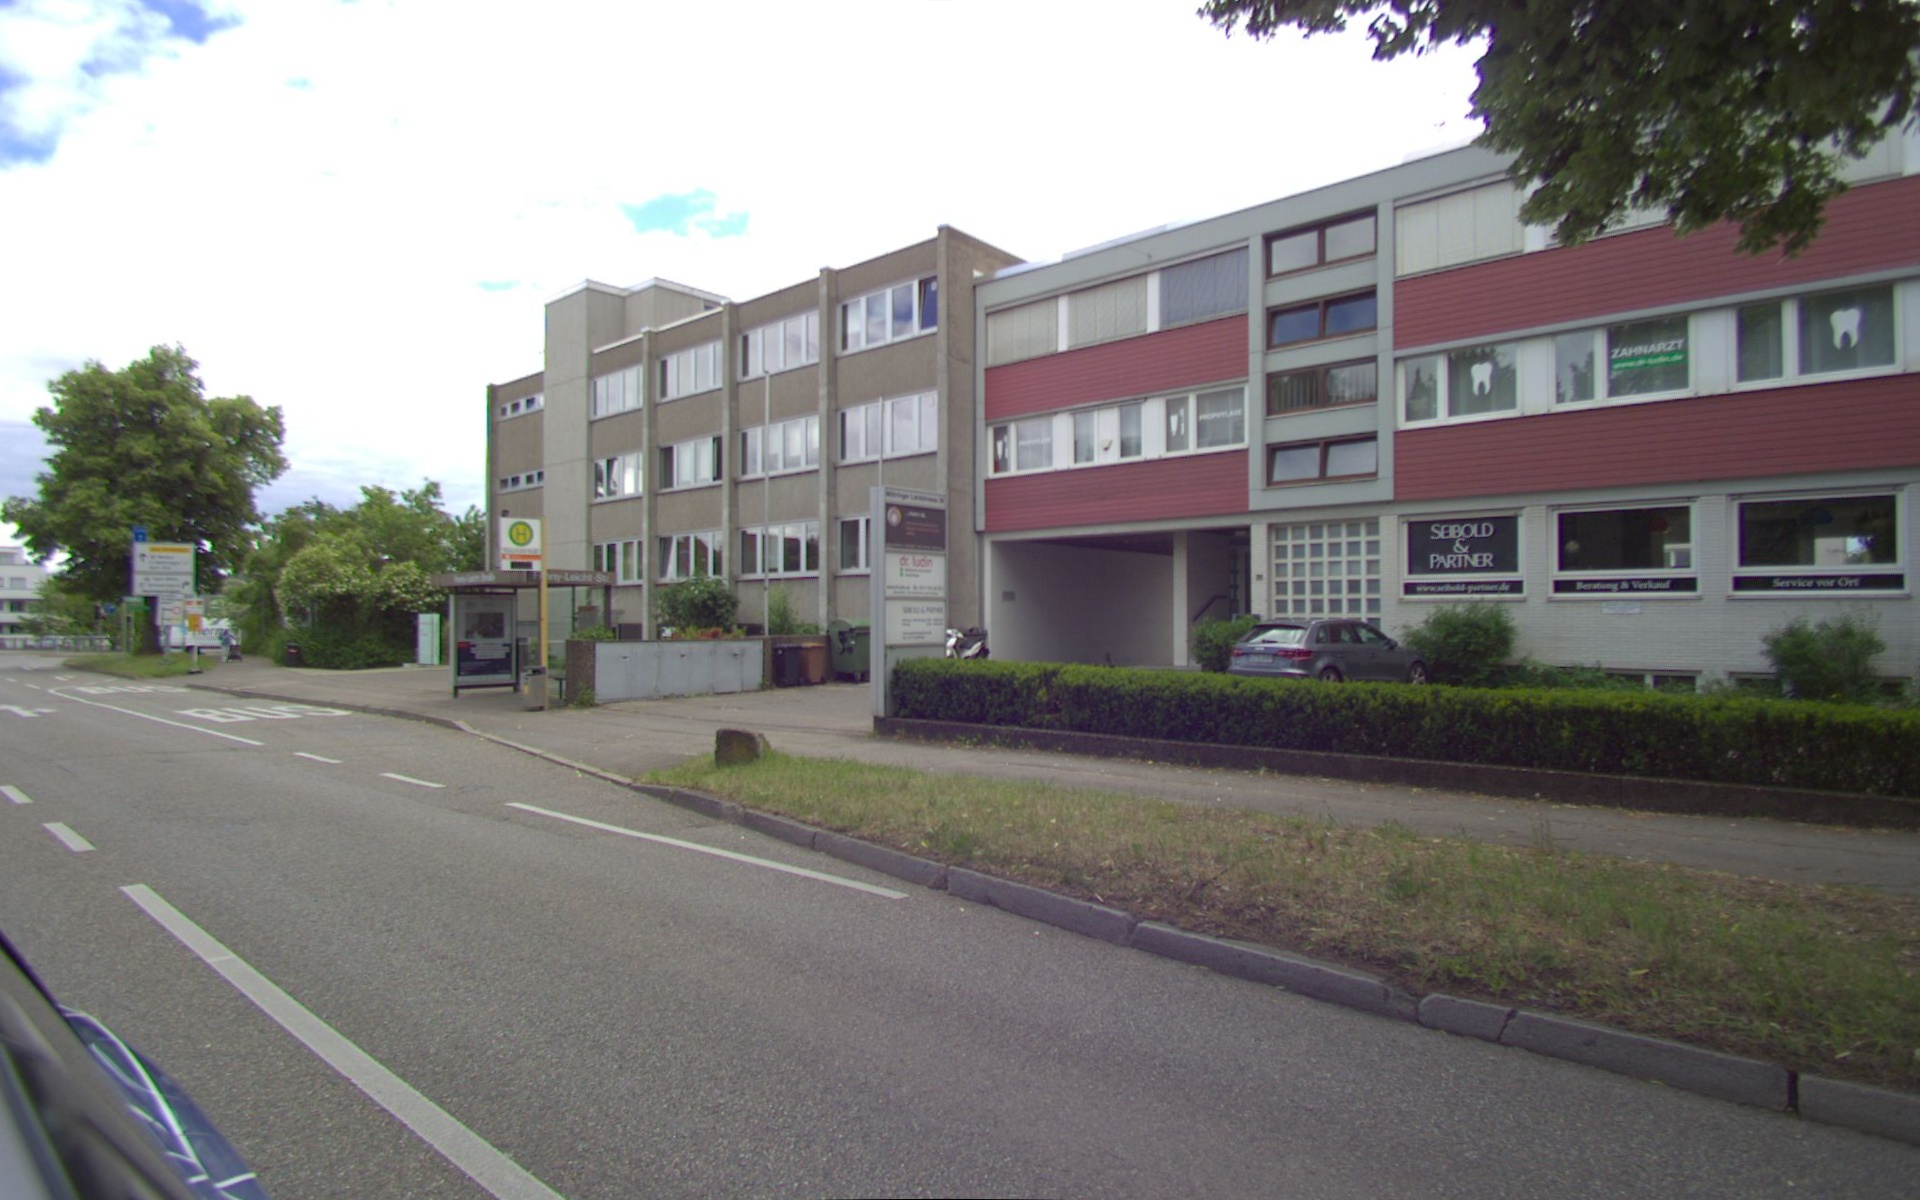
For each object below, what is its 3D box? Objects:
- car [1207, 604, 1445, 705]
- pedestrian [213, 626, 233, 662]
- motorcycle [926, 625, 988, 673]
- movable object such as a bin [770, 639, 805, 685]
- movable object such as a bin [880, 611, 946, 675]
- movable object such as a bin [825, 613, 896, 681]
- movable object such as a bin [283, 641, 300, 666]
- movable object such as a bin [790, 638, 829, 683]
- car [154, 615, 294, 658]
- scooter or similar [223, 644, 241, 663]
[{"bbox_3d":[6.341,0.844,17.401,4.082,1.490,1.817,-1,0,-35],"label":"car"},{"bbox_3d":[-33.331,1.991,45.781,0.662,1.570,0.521,-1,-1,-32],"label":"pedestrian"},{"bbox_3d":[-0.071,1.218,25.678,0.639,1.148,1.624,-1,0,41],"label":"motorcycle"},{"bbox_3d":[-3.705,1.324,21.739,0.562,0.946,0.510,-1,-1,41],"label":"movable object such as a bin"},{"bbox_3d":[-1.128,1.018,24.349,0.884,1.476,1.347,-1,0,41],"label":"movable object such as a bin"},{"bbox_3d":[-2.268,1.042,23.111,0.992,1.476,1.285,-1,0,41],"label":"movable object such as a bin"},{"bbox_3d":[-25.745,2.055,38.993,0.558,0.934,0.609,0,-1,-33],"label":"movable object such as a bin"},{"bbox_3d":[-3.309,1.312,22.222,0.562,0.946,0.626,-1,-1,41],"label":"movable object such as a bin"},{"bbox_3d":[-49.239,2.399,67.969,7.317,2.665,2.204,-1,0,-27],"label":"car"},{"bbox_3d":[-32.502,2.384,45.211,0.598,0.792,0.861,-1,0,-32],"label":"scooter or similar"}]
